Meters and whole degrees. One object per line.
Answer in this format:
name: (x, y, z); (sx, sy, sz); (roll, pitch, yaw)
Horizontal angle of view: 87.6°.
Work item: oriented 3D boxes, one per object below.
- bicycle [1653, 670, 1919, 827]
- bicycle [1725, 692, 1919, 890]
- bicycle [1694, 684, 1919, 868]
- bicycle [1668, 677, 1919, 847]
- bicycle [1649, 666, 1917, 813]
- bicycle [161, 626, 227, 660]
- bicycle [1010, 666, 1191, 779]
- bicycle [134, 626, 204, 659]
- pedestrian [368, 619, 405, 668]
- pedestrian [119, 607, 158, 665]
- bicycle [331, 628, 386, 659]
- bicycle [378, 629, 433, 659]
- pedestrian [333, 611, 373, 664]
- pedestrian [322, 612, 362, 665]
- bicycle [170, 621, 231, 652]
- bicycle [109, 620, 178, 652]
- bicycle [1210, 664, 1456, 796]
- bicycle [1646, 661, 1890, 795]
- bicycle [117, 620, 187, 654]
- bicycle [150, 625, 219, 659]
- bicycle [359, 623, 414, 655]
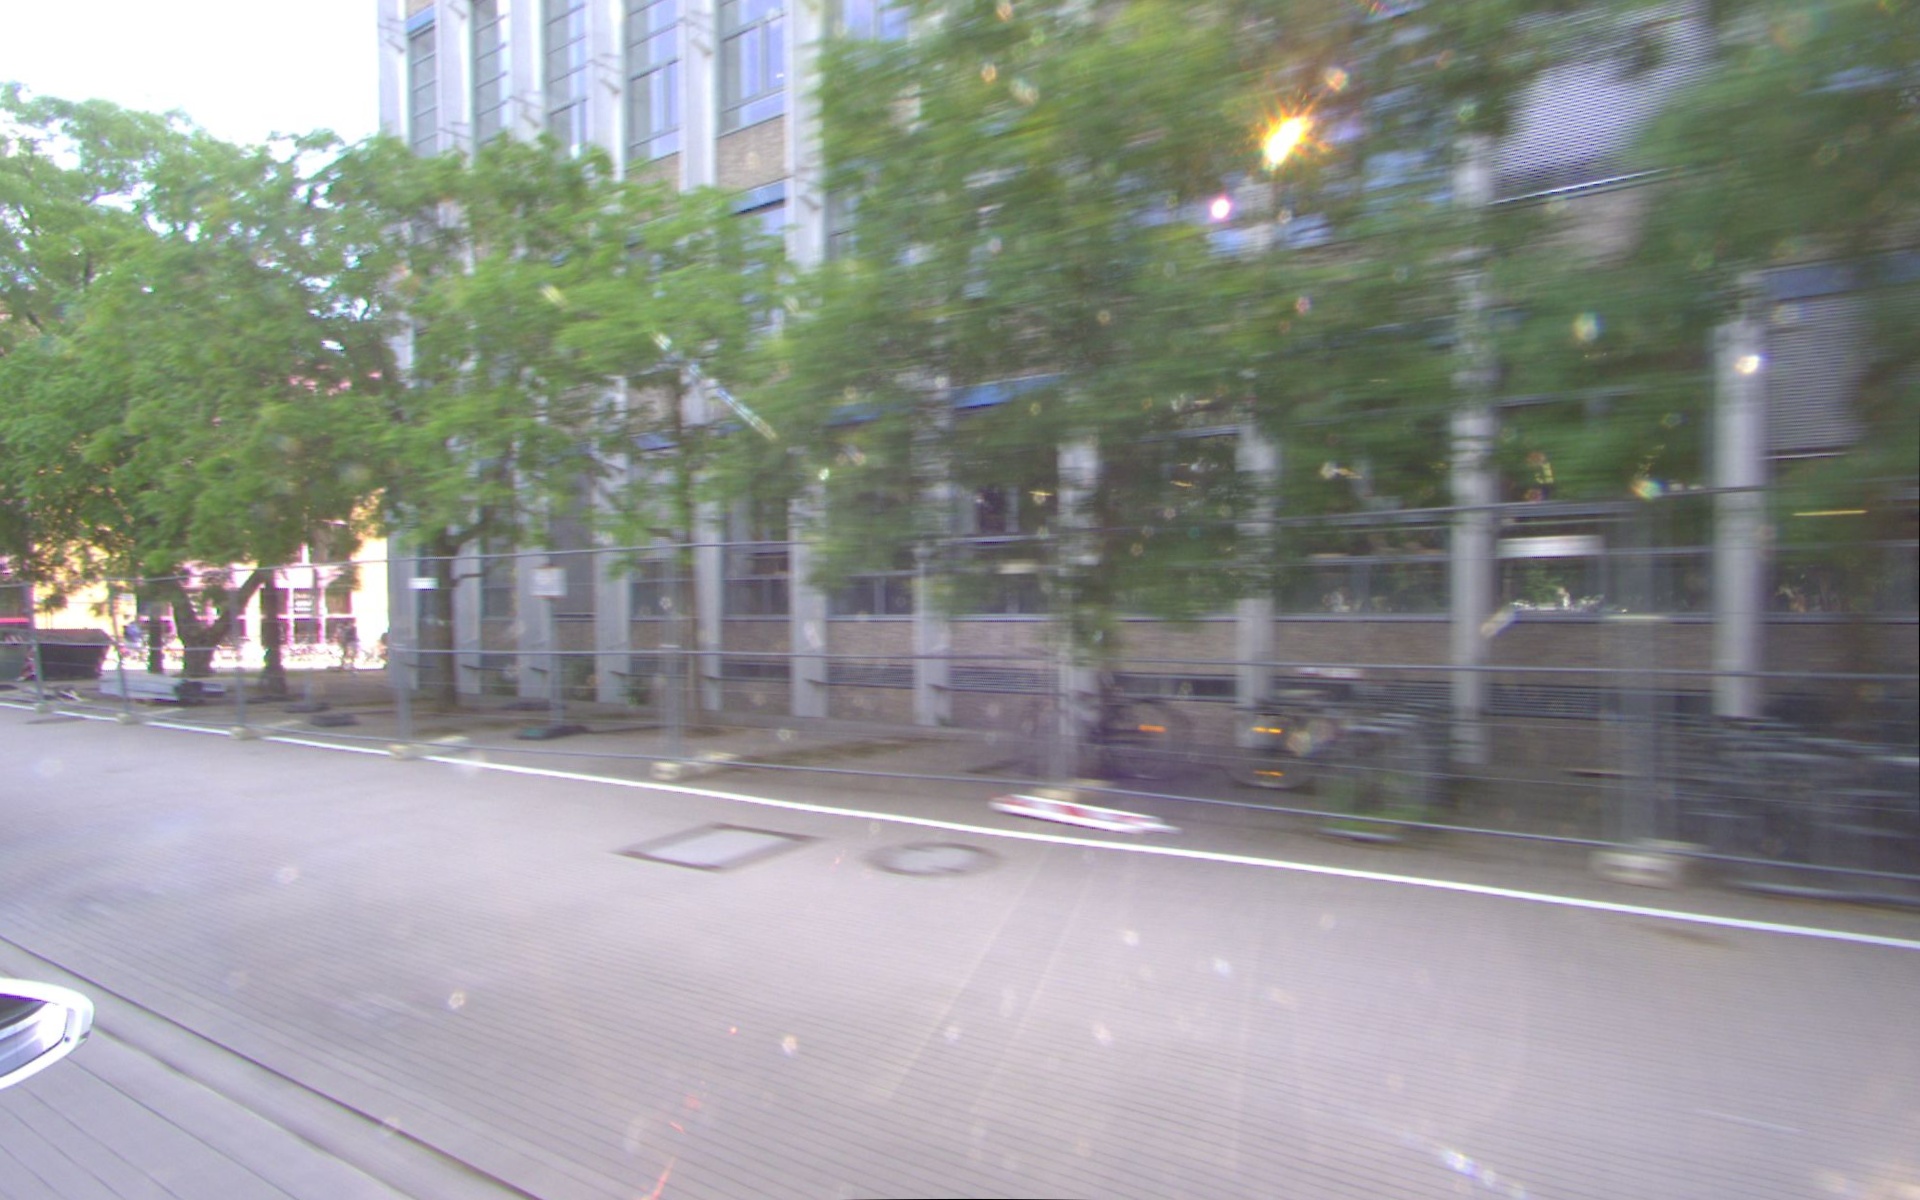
bicycle: (5.490, 0.955, 6.650); (1.426, 0.917, 0.290); (0, 1, 29)
bicycle: (4.734, 0.954, 4.992); (1.426, 0.917, 0.290); (0, 1, 29)
bicycle: (4.936, 0.956, 5.496); (1.426, 0.917, 0.290); (0, 1, 29)
bicycle: (5.173, 0.956, 6.054); (1.426, 0.917, 0.290); (0, 1, 29)
bicycle: (5.757, 0.952, 7.079); (1.426, 0.917, 0.290); (0, 1, 29)
bicycle: (-25.639, 1.425, 33.533); (0.468, 1.124, 1.689); (0, -2, 35)
bicycle: (1.248, 1.078, 9.002); (1.592, 0.917, 0.290); (0, 1, 24)
bicycle: (-27.163, 1.453, 34.413); (0.516, 1.124, 1.807); (0, -2, 31)
pedestrian: (-20.922, 1.575, 36.527); (0.674, 1.750, 0.901); (-3, -1, 28)
pedestrian: (-25.717, 1.122, 31.355); (0.895, 1.750, 0.679); (-2, -1, -41)
bicycle: (-23.355, 1.692, 38.890); (0.467, 1.184, 1.803); (0, -2, 32)
bicycle: (-22.803, 1.808, 41.208); (0.467, 1.184, 1.994); (0, -2, 31)
pedestrian: (-20.324, 1.246, 33.533); (0.674, 1.750, 0.901); (-3, -1, 28)
pedestrian: (-20.922, 1.291, 33.926); (0.674, 1.750, 0.901); (-3, -1, 28)
bicycle: (-28.703, 1.373, 37.865); (0.466, 1.124, 1.806); (0, -2, 26)
bicycle: (-28.741, 1.262, 35.283); (0.516, 1.124, 1.808); (0, -2, 29)
bicycle: (2.888, 0.985, 7.848); (1.775, 0.917, 0.290); (0, 1, 24)
bicycle: (6.157, 0.954, 7.702); (1.426, 0.917, 0.290); (0, 1, 29)
bicycle: (-27.977, 1.280, 34.704); (0.517, 1.124, 1.804); (0, -2, 35)
bicycle: (-26.504, 1.436, 34.238); (0.517, 1.124, 1.804); (0, -2, 36)
bicycle: (-21.951, 1.497, 38.374); (0.468, 1.184, 1.801); (0, -2, 35)
